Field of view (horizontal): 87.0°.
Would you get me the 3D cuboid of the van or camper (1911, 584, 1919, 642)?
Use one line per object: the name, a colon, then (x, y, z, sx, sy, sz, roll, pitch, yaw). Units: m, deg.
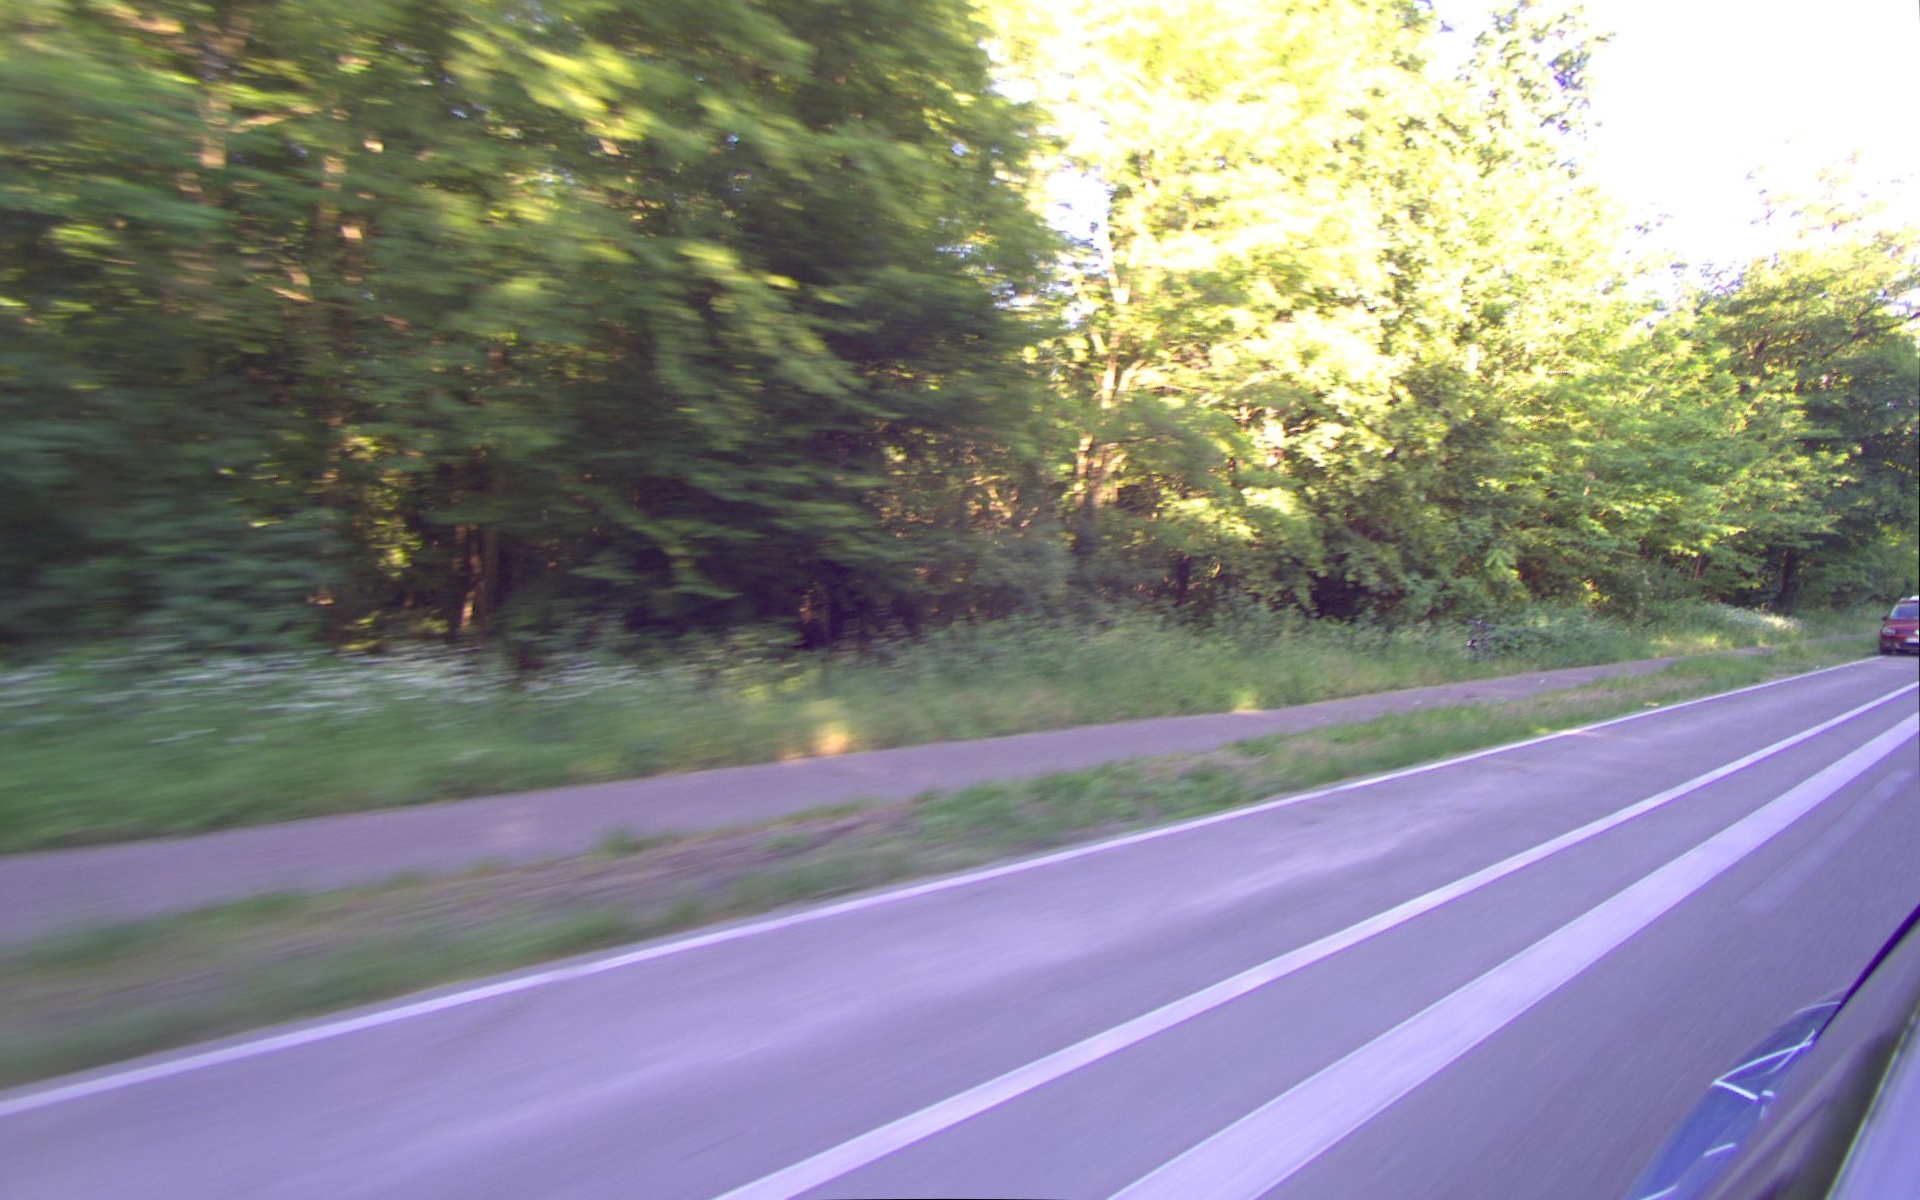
van or camper: (32.621, 0.403, 33.081, 4.307, 1.838, 1.953, 0, 0, -43)

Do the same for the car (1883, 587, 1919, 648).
car: (28.243, 0.486, 29.221, 4.262, 1.682, 1.837, 0, -1, -41)
